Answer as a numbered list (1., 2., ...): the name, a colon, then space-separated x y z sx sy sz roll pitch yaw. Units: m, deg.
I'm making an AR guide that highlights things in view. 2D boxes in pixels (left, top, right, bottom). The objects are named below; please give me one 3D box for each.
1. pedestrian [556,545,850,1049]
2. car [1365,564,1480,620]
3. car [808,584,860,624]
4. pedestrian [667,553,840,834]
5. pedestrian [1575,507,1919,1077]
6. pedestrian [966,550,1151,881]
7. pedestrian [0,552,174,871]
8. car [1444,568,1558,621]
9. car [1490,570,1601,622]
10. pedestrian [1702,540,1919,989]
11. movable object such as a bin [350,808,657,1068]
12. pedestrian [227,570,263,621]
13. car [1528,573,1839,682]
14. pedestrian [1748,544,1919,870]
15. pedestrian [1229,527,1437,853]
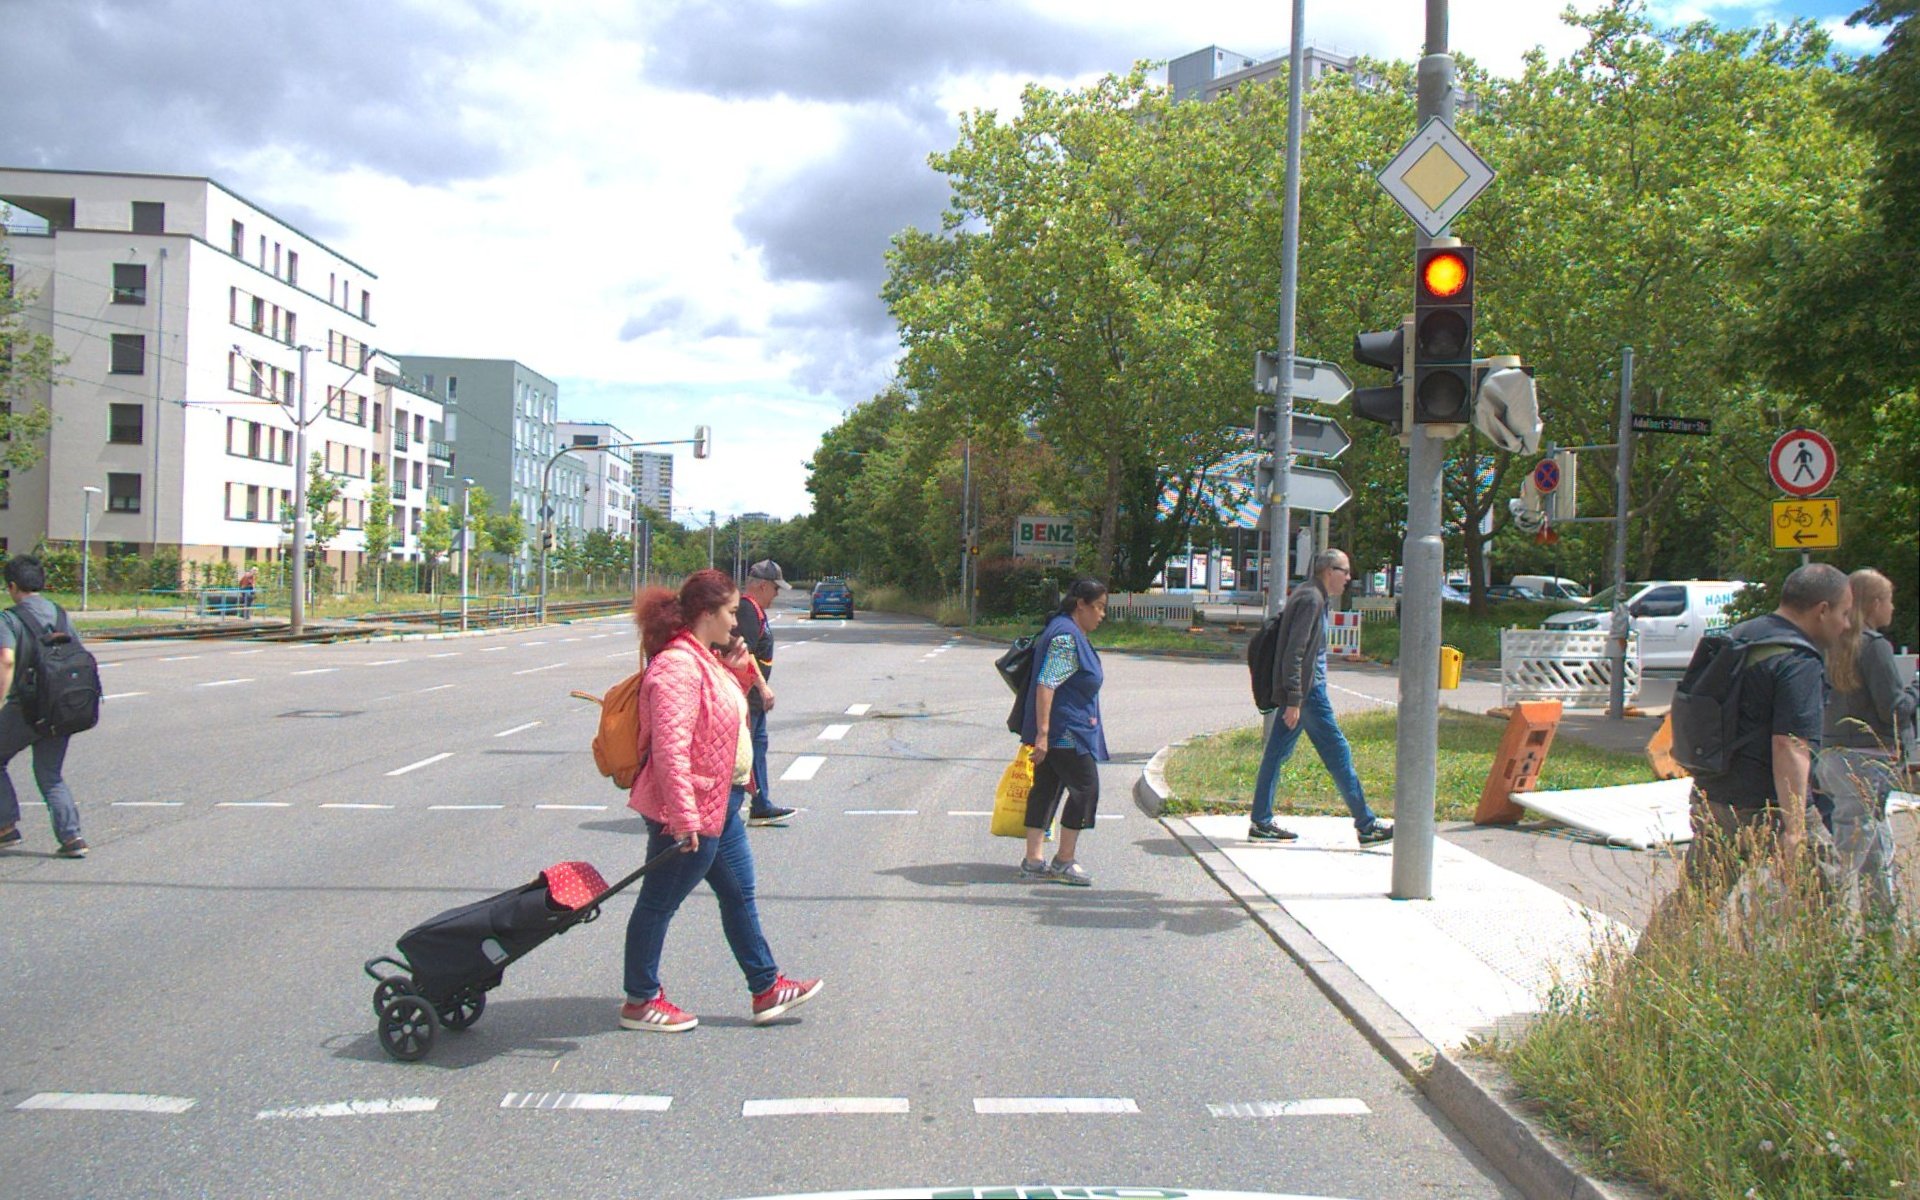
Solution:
1. pedestrian: -0.834 0.618 5.588 0.863 1.582 0.746 1 0 -1
2. car: 17.523 -0.313 62.825 1.974 2.049 3.957 0 1 -32
3. car: -5.089 0.137 66.412 1.944 1.512 4.485 1 1 -6
4. pedestrian: -1.235 0.537 10.070 0.874 1.624 0.908 1 0 4
5. pedestrian: 2.624 0.566 5.326 0.939 1.677 0.880 1 0 -1
6. pedestrian: 0.543 0.569 8.746 0.893 1.635 0.930 1 0 7
7. pedestrian: -4.727 0.547 8.596 0.928 1.579 0.842 1 0 -8
8. car: 21.367 -0.234 65.459 1.974 2.049 3.957 0 1 -32
9. car: 23.934 -0.181 67.695 1.974 2.049 3.957 0 1 -32
10. pedestrian: 3.696 0.616 6.661 0.999 1.677 0.929 1 0 2
11. movable object such as a bin: -1.453 1.073 5.396 0.779 0.673 0.778 1 0 -1
12. pedestrian: -21.690 -0.135 50.175 0.814 1.542 0.636 1 0 -1
13. car: 13.427 0.499 30.859 4.976 1.906 1.947 1 0 -5
14. pedestrian: 5.057 0.580 9.508 0.765 1.773 0.829 1 0 13
15. pedestrian: 2.157 0.499 9.692 0.982 1.804 0.929 1 0 -1
